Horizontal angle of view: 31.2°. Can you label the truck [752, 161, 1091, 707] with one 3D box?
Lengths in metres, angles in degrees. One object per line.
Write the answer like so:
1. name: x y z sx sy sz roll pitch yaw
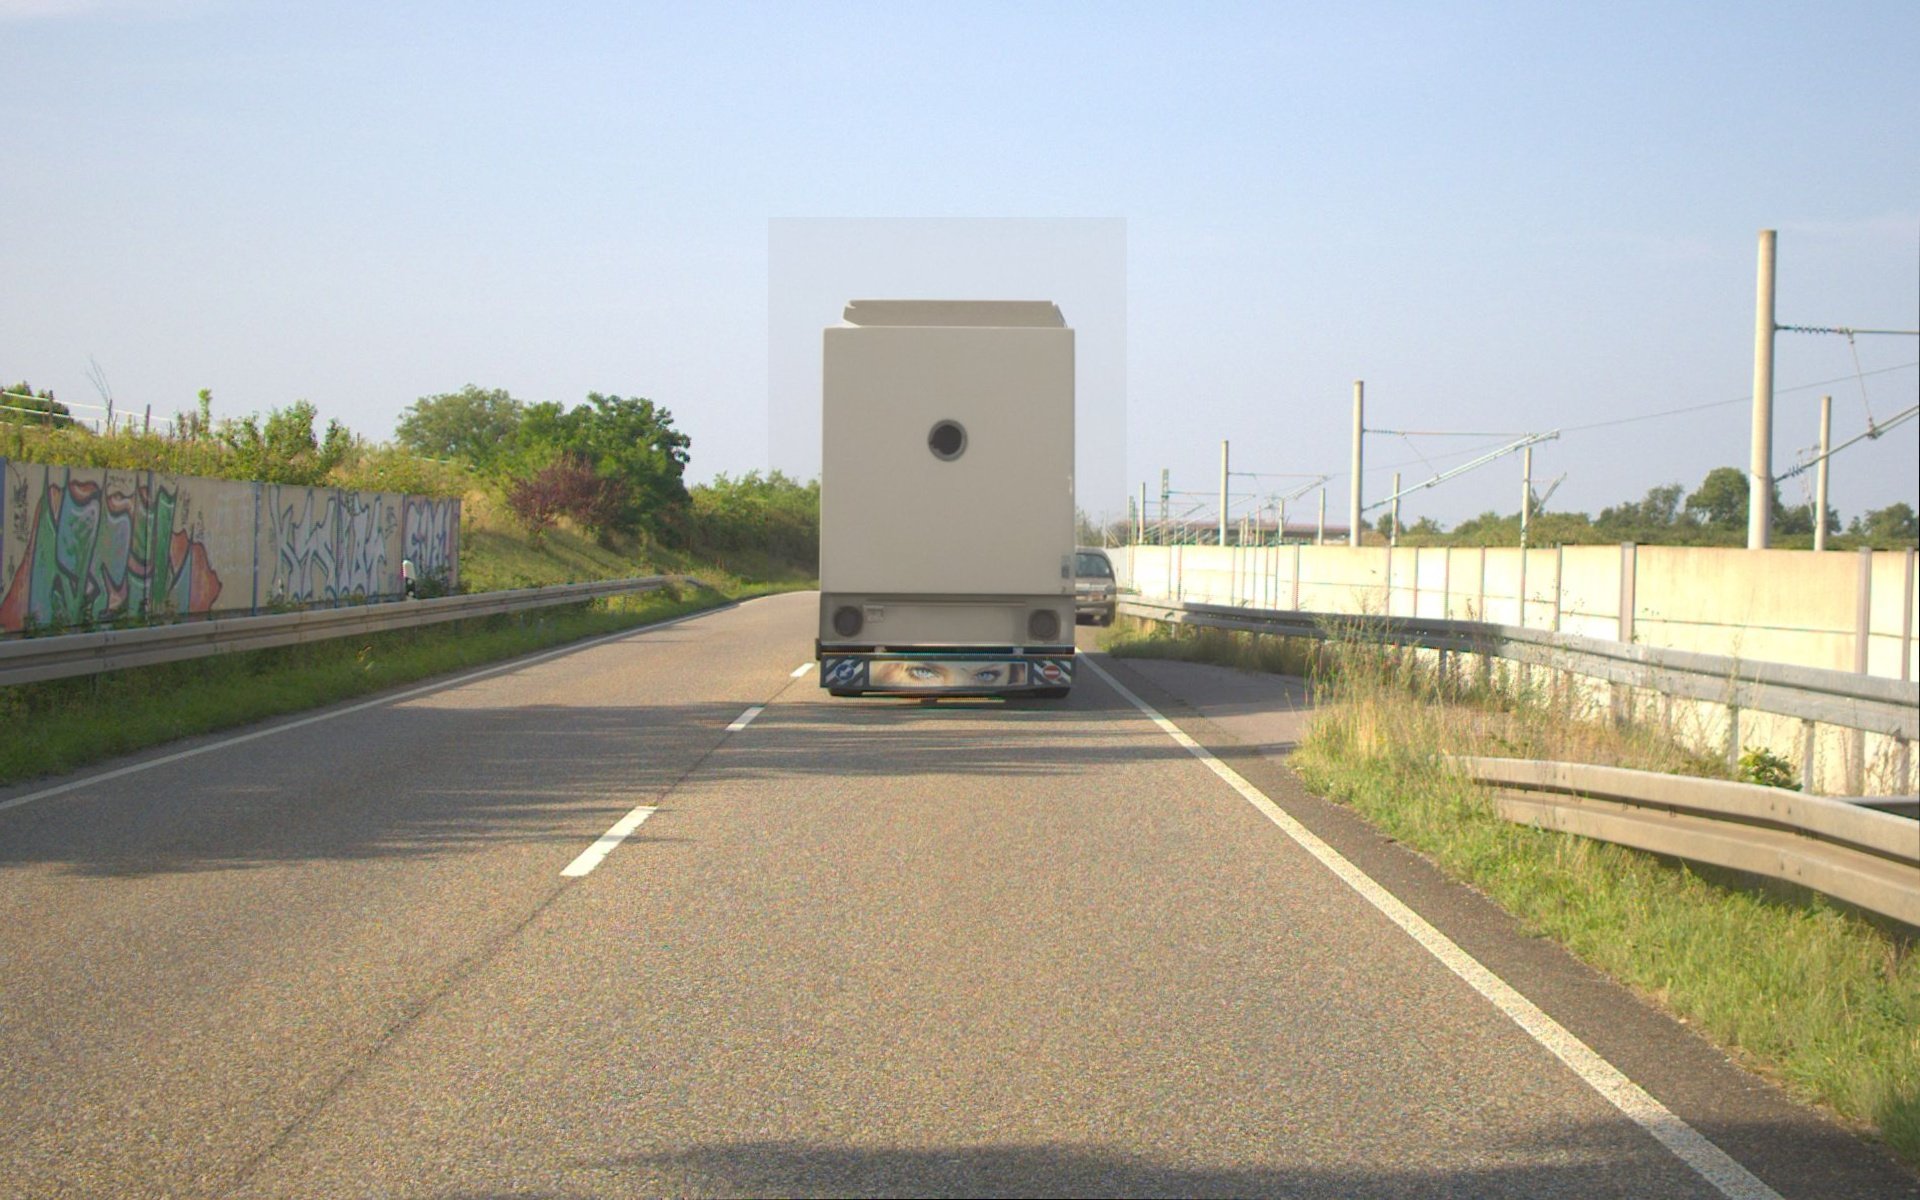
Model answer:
1. truck: -0.459 -1.646 36.817 3.033 4.903 11.685 0 1 -1
